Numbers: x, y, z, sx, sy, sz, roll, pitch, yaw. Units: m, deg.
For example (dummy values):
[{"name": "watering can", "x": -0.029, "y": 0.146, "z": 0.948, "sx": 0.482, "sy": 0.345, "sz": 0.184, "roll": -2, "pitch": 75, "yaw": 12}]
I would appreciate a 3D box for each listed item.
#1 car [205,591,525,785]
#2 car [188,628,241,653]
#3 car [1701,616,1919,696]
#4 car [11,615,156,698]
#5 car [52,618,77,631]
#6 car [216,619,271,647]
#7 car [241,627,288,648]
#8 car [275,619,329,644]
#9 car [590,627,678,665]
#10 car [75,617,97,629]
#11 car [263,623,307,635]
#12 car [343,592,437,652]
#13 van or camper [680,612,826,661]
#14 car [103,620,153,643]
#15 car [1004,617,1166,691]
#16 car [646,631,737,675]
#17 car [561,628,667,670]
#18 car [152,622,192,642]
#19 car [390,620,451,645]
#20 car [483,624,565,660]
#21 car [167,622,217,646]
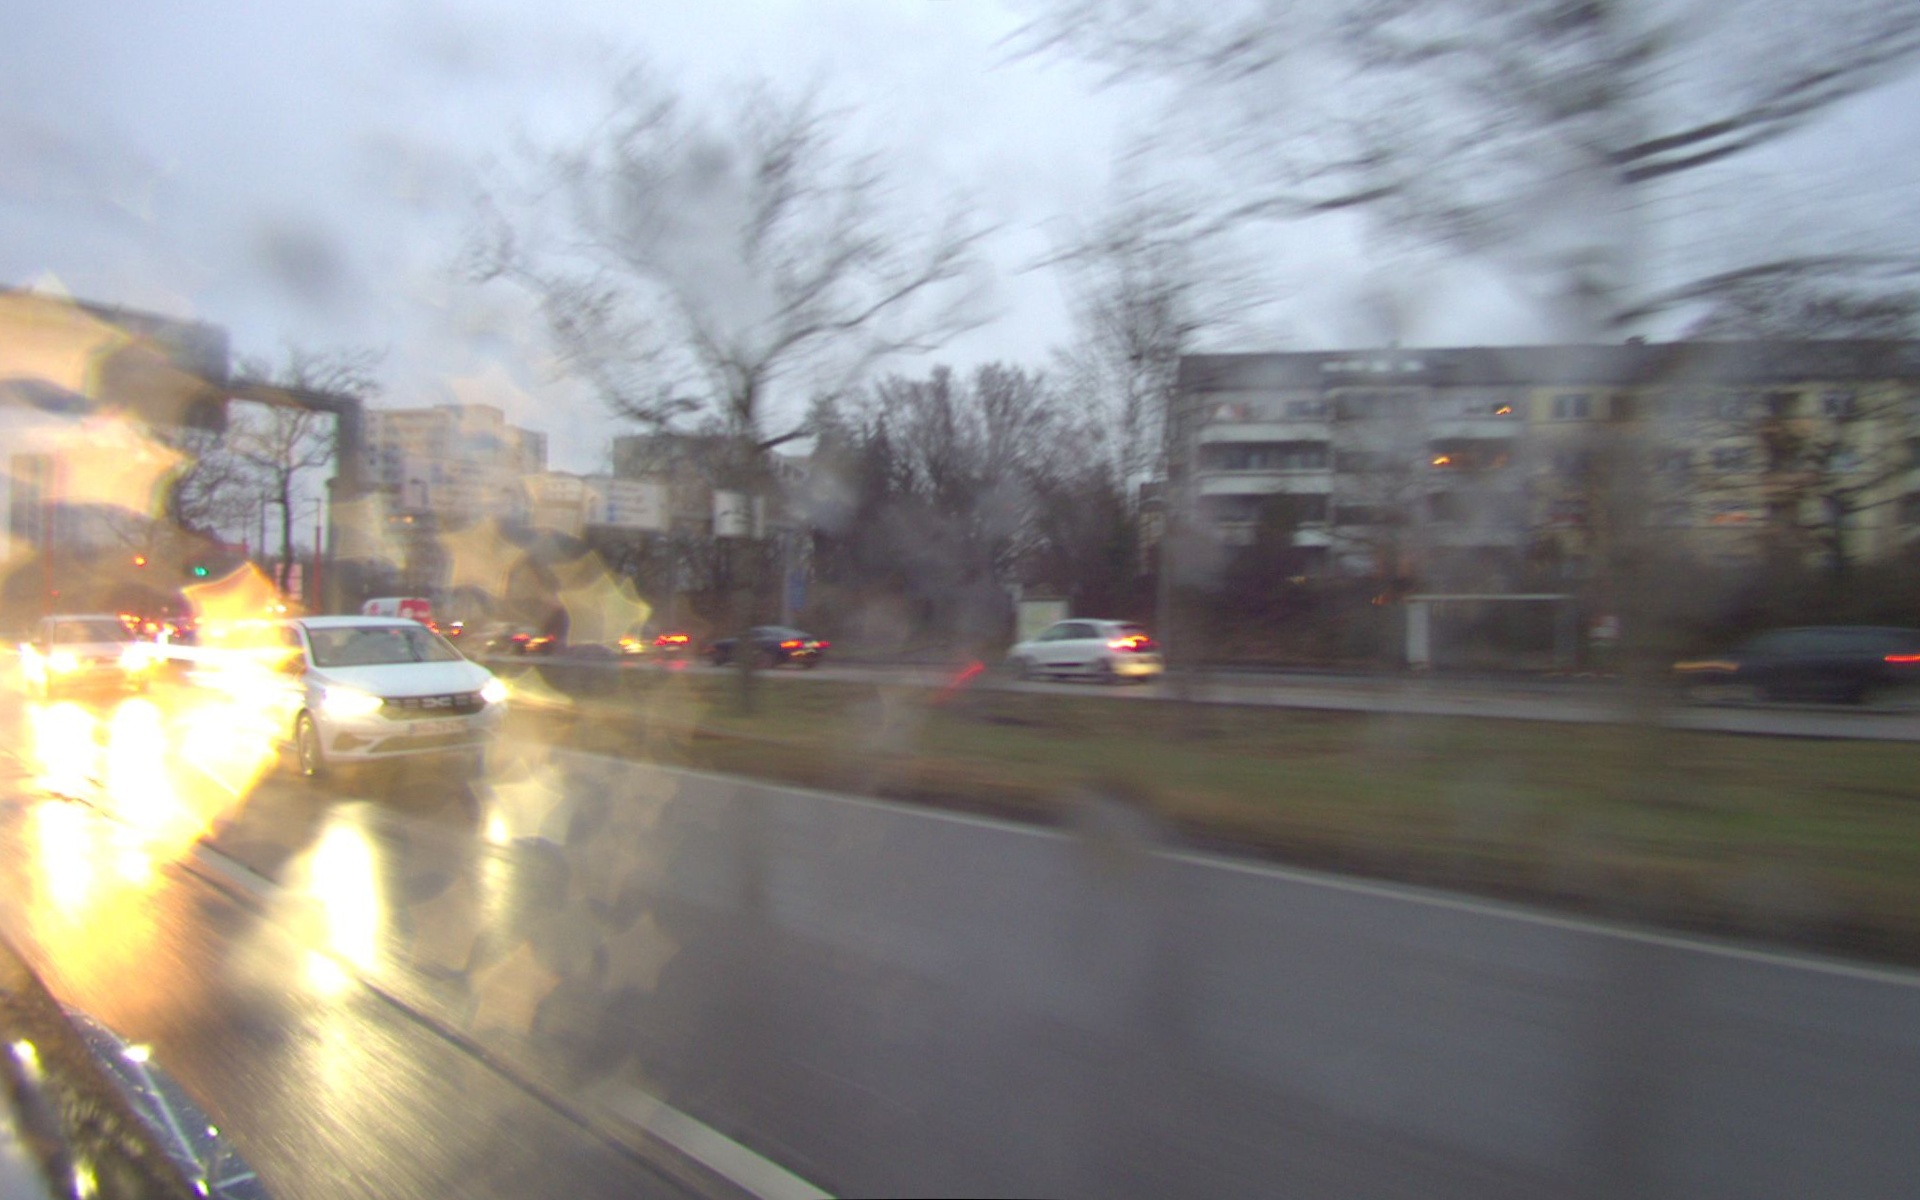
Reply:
[{"name": "car", "x": -6.386, "y": 0.780, "z": 10.671, "sx": 4.145, "sy": 1.660, "sz": 1.696, "roll": -1, "pitch": -1, "yaw": 41}, {"name": "car", "x": -47.857, "y": 2.549, "z": 64.944, "sx": 4.521, "sy": 1.545, "sz": 1.752, "roll": -1, "pitch": -2, "yaw": 40}, {"name": "car", "x": 15.927, "y": 0.947, "z": 18.010, "sx": 4.313, "sy": 1.318, "sz": 1.733, "roll": -1, "pitch": -1, "yaw": 41}, {"name": "car", "x": -18.624, "y": 1.121, "z": 21.439, "sx": 4.186, "sy": 1.551, "sz": 1.673, "roll": -1, "pitch": 0, "yaw": 40}, {"name": "car", "x": -112.012, "y": 3.089, "z": 126.629, "sx": 3.943, "sy": 1.565, "sz": 1.752, "roll": -1, "pitch": -2, "yaw": 40}, {"name": "car", "x": -43.336, "y": 1.970, "z": 61.210, "sx": 4.030, "sy": 1.598, "sz": 1.752, "roll": -1, "pitch": -2, "yaw": 40}, {"name": "car", "x": -51.759, "y": 2.744, "z": 75.280, "sx": 4.646, "sy": 1.501, "sz": 1.752, "roll": -1, "pitch": -2, "yaw": 40}, {"name": "car", "x": -41.887, "y": 1.980, "z": 64.393, "sx": 4.444, "sy": 1.548, "sz": 1.751, "roll": -1, "pitch": -2, "yaw": 42}, {"name": "car", "x": -14.100, "y": 1.956, "z": 43.700, "sx": 4.169, "sy": 1.457, "sz": 1.717, "roll": 0, "pitch": -1, "yaw": 41}, {"name": "car", "x": -115.384, "y": 3.053, "z": 133.580, "sx": 4.013, "sy": 1.506, "sz": 1.602, "roll": -1, "pitch": -2, "yaw": 40}, {"name": "car", "x": -83.808, "y": 3.592, "z": 125.728, "sx": 1.834, "sy": 1.556, "sz": 4.421, "roll": 0, "pitch": -1, "yaw": 14}, {"name": "car", "x": -31.120, "y": 1.104, "z": 55.105, "sx": 7.345, "sy": 3.027, "sz": 2.267, "roll": 0, "pitch": 0, "yaw": 42}, {"name": "van or camper", "x": -6.758, "y": 1.145, "z": 32.713, "sx": 5.155, "sy": 1.457, "sz": 1.884, "roll": -1, "pitch": -1, "yaw": 41}, {"name": "car", "x": -55.726, "y": 2.086, "z": 67.743, "sx": 4.837, "sy": 1.548, "sz": 1.752, "roll": -1, "pitch": -2, "yaw": 40}, {"name": "car", "x": 3.044, "y": 1.261, "z": 24.874, "sx": 3.571, "sy": 1.639, "sz": 1.767, "roll": -1, "pitch": -1, "yaw": 40}, {"name": "car", "x": -12.461, "y": 2.391, "z": 46.817, "sx": 4.425, "sy": 1.865, "sz": 1.972, "roll": -1, "pitch": -1, "yaw": 42}, {"name": "car", "x": -13.378, "y": 1.840, "z": 39.017, "sx": 4.440, "sy": 1.457, "sz": 1.884, "roll": -1, "pitch": -1, "yaw": 41}, {"name": "car", "x": -57.163, "y": 2.332, "z": 73.411, "sx": 3.323, "sy": 1.431, "sz": 1.635, "roll": -1, "pitch": -2, "yaw": 40}, {"name": "car", "x": -31.180, "y": 1.853, "z": 58.466, "sx": 3.997, "sy": 1.409, "sz": 1.738, "roll": -1, "pitch": -1, "yaw": 40}, {"name": "car", "x": -19.503, "y": 1.819, "z": 45.173, "sx": 1.882, "sy": 1.457, "sz": 4.458, "roll": 0, "pitch": -1, "yaw": -45}, {"name": "car", "x": -52.692, "y": 2.288, "z": 69.432, "sx": 4.284, "sy": 1.611, "sz": 1.838, "roll": -1, "pitch": -2, "yaw": 40}]
